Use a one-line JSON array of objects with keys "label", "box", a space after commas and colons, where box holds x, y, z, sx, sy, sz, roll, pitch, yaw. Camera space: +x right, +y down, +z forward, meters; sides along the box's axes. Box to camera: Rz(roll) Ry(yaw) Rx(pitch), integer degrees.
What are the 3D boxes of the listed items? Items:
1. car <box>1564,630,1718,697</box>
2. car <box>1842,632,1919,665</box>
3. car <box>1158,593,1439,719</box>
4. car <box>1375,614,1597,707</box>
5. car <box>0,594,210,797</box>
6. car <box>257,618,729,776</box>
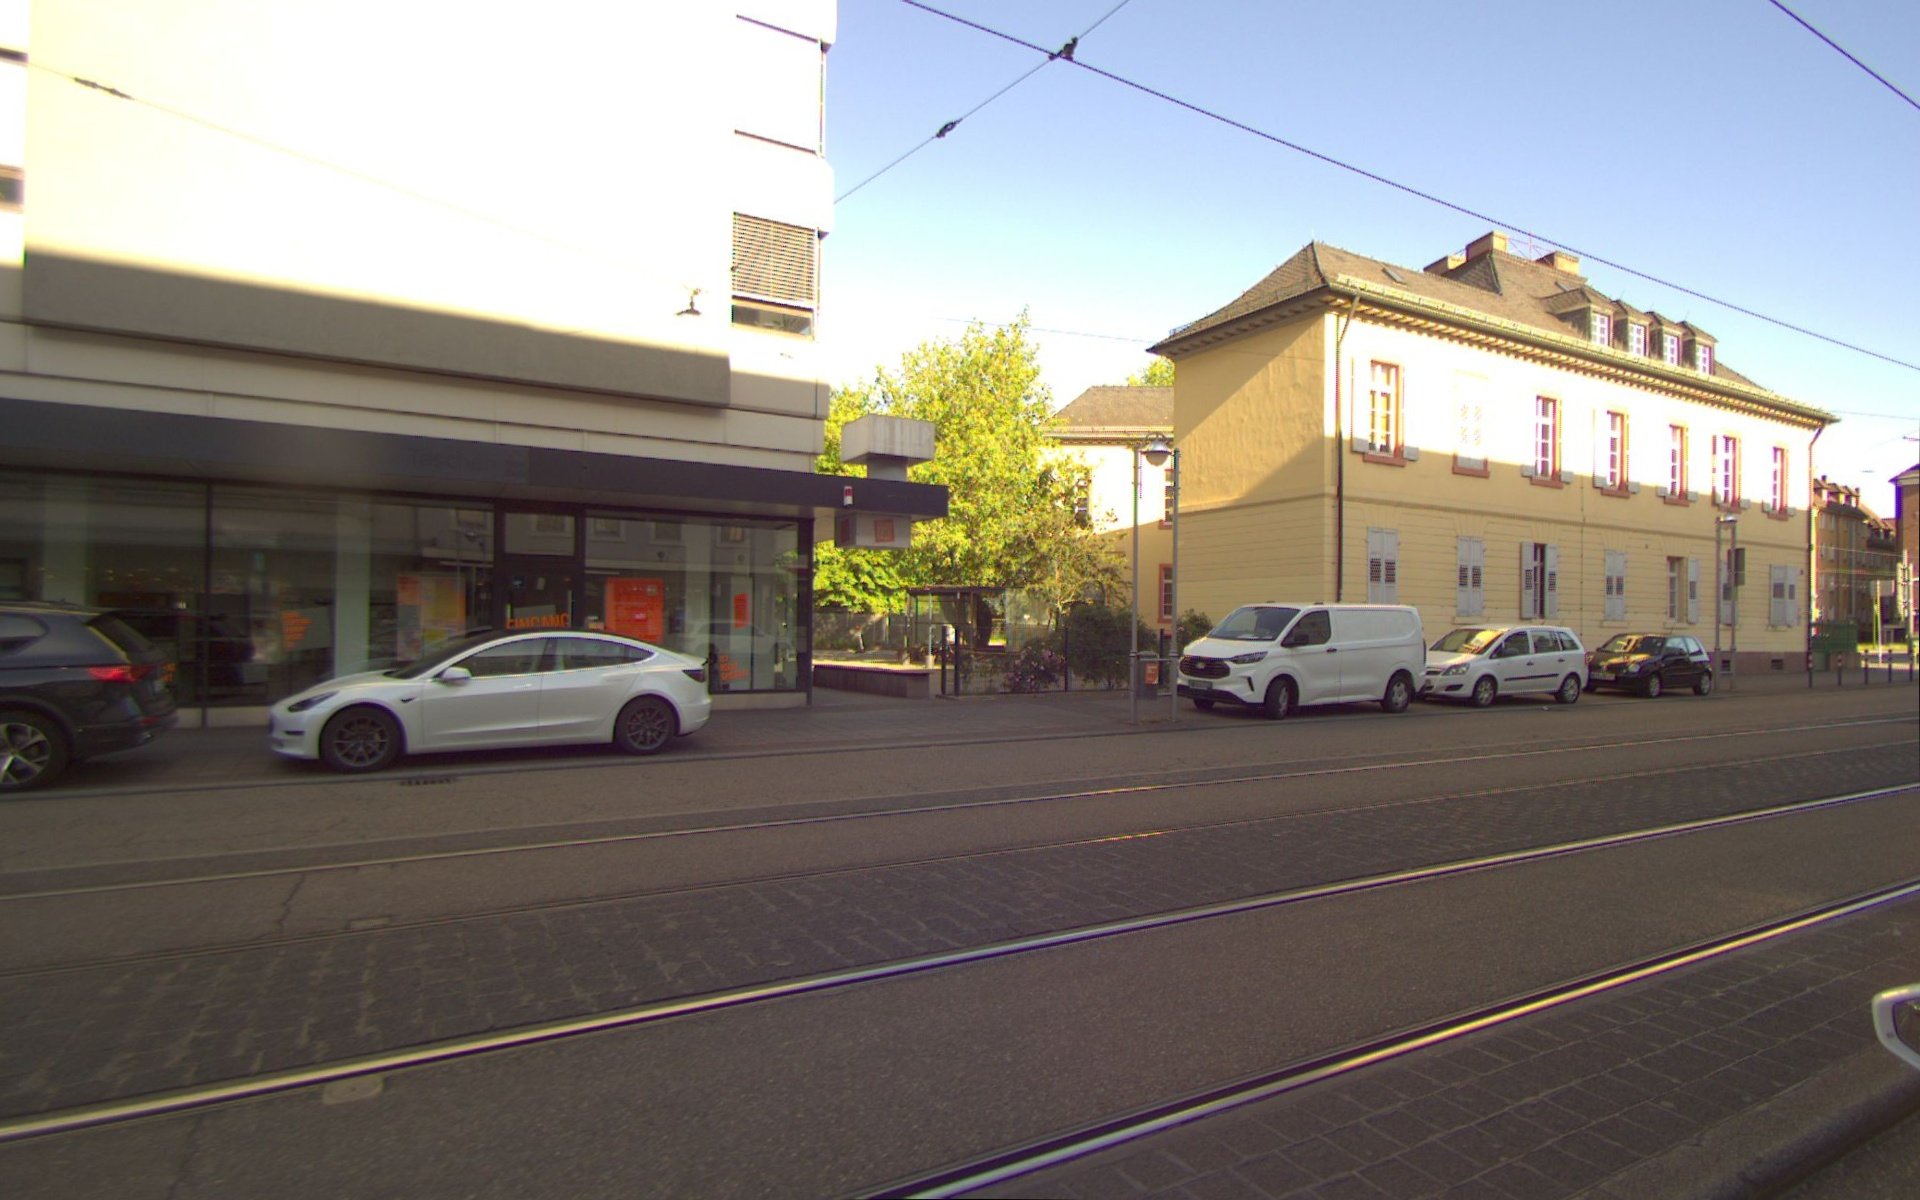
[{"label": "car", "box": [16.318, 1.491, 24.049, 3.677, 1.419, 1.606, 2, 0, -31]}, {"label": "car", "box": [45.236, 2.356, 49.097, 3.950, 1.483, 1.895, 2, 0, -28]}, {"label": "car", "box": [6.205, 0.962, 18.225, 5.037, 2.001, 1.984, 2, 0, -31]}, {"label": "car", "box": [11.039, 1.237, 21.027, 4.589, 1.708, 1.801, 2, 0, -28]}, {"label": "car", "box": [-9.727, 0.794, 8.949, 4.599, 1.701, 1.969, 2, 0, -30]}, {"label": "car", "box": [-5.213, 1.010, 11.612, 4.603, 1.440, 1.878, 2, 0, -31]}]
